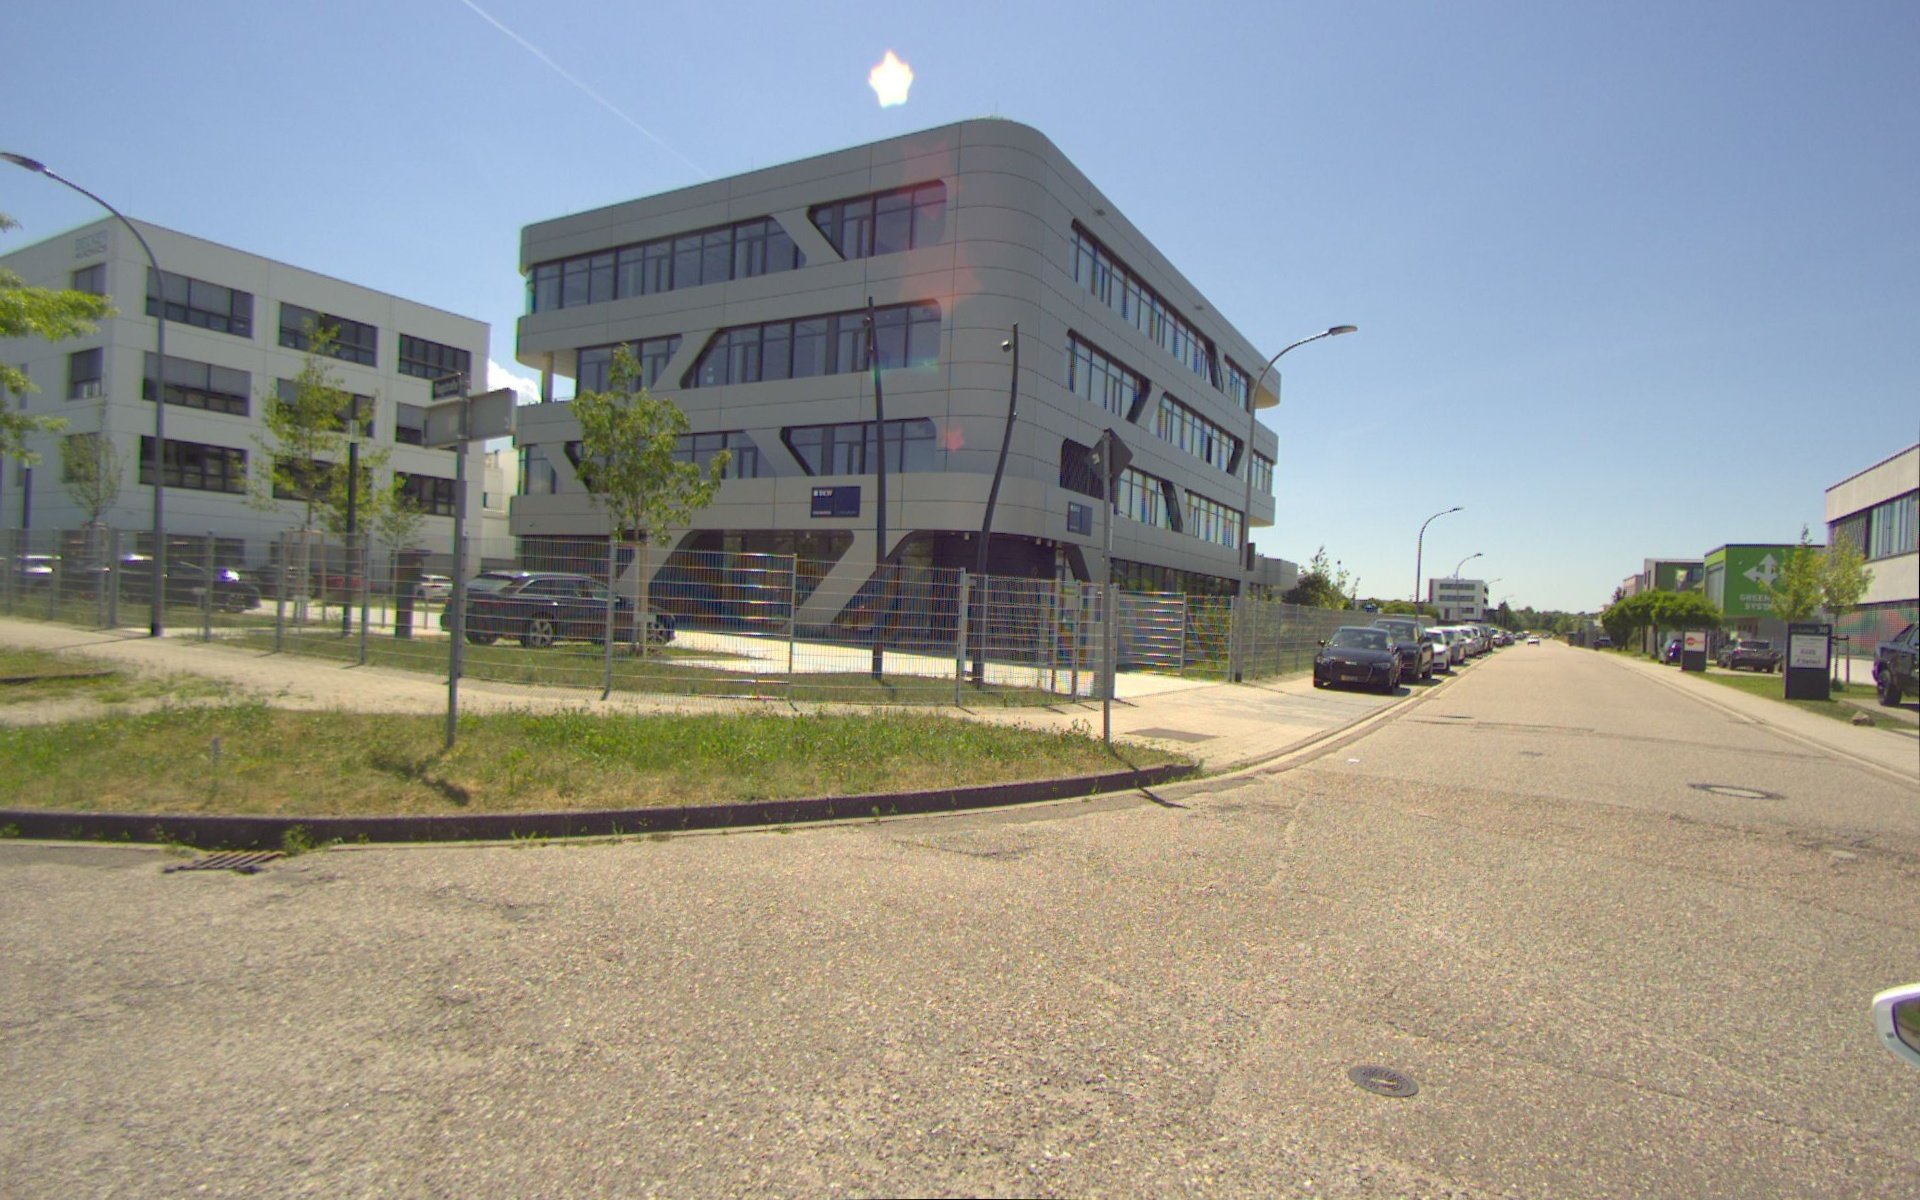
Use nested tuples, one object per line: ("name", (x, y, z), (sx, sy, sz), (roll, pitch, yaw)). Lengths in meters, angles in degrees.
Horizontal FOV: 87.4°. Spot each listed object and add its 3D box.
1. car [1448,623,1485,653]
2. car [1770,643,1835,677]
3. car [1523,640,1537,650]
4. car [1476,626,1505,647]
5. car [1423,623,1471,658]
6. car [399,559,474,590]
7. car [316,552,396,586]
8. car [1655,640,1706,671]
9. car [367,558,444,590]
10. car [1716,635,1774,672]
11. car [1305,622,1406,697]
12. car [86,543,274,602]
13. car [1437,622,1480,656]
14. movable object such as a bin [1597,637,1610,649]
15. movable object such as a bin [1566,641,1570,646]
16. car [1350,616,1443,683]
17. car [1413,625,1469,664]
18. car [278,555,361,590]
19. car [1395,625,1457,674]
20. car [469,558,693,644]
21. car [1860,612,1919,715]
("car", (28.649, 2.124, 56.770), (1.610, 1.556, 3.652), (4, 1, 29))
("car", (41.675, 2.928, 49.778), (1.698, 1.468, 4.015), (4, 0, 30))
("car", (91.928, 7.254, 162.066), (1.677, 1.430, 4.779), (3, 0, 26))
("car", (43.747, 3.007, 82.843), (1.762, 1.563, 4.355), (4, 0, 32))
("car", (23.000, 1.882, 47.375), (1.678, 1.463, 4.432), (4, 1, 29))
("car", (-29.347, -1.421, 56.271), (4.031, 1.531, 1.773), (3, 0, 30))
("car", (-31.271, -1.611, 51.982), (4.031, 1.531, 1.773), (3, 0, 30))
("car", (37.869, 2.884, 52.897), (1.667, 1.447, 4.238), (4, 0, 30))
("car", (-30.105, -1.422, 54.488), (4.031, 1.531, 1.773), (3, 0, 30))
("car", (40.079, 2.703, 51.364), (1.698, 1.654, 4.015), (4, 1, 30))
("car", (9.500, 1.334, 23.952), (1.743, 1.486, 4.180), (3, 1, 28))
("car", (-23.427, -0.793, 30.344), (1.744, 1.531, 4.098), (3, 0, 29))
("car", (25.931, 1.999, 52.159), (1.678, 1.556, 4.564), (4, 1, 29))
("movable object such as a bin", (86.706, 5.808, 135.373), (1.315, 1.479, 0.947), (2, -1, 30))
("movable object such as a bin", (104.749, 7.471, 173.083), (0.545, 0.940, 0.520), (-2, -2, 35))
("car", (12.764, 1.366, 29.179), (1.744, 1.673, 4.839), (3, 1, 32))
("car", (20.173, 1.806, 42.023), (1.659, 1.404, 4.629), (3, 1, 31))
("car", (-31.928, -1.377, 50.084), (4.031, 1.531, 1.773), (3, 0, 30))
("car", (15.830, 1.617, 34.040), (1.673, 1.404, 3.932), (3, 1, 27))
("car", (-7.622, 0.049, 20.598), (1.744, 1.531, 4.098), (3, 0, 29))
("car", (21.268, 1.385, 21.236), (1.964, 2.041, 5.790), (2, 2, 28))
